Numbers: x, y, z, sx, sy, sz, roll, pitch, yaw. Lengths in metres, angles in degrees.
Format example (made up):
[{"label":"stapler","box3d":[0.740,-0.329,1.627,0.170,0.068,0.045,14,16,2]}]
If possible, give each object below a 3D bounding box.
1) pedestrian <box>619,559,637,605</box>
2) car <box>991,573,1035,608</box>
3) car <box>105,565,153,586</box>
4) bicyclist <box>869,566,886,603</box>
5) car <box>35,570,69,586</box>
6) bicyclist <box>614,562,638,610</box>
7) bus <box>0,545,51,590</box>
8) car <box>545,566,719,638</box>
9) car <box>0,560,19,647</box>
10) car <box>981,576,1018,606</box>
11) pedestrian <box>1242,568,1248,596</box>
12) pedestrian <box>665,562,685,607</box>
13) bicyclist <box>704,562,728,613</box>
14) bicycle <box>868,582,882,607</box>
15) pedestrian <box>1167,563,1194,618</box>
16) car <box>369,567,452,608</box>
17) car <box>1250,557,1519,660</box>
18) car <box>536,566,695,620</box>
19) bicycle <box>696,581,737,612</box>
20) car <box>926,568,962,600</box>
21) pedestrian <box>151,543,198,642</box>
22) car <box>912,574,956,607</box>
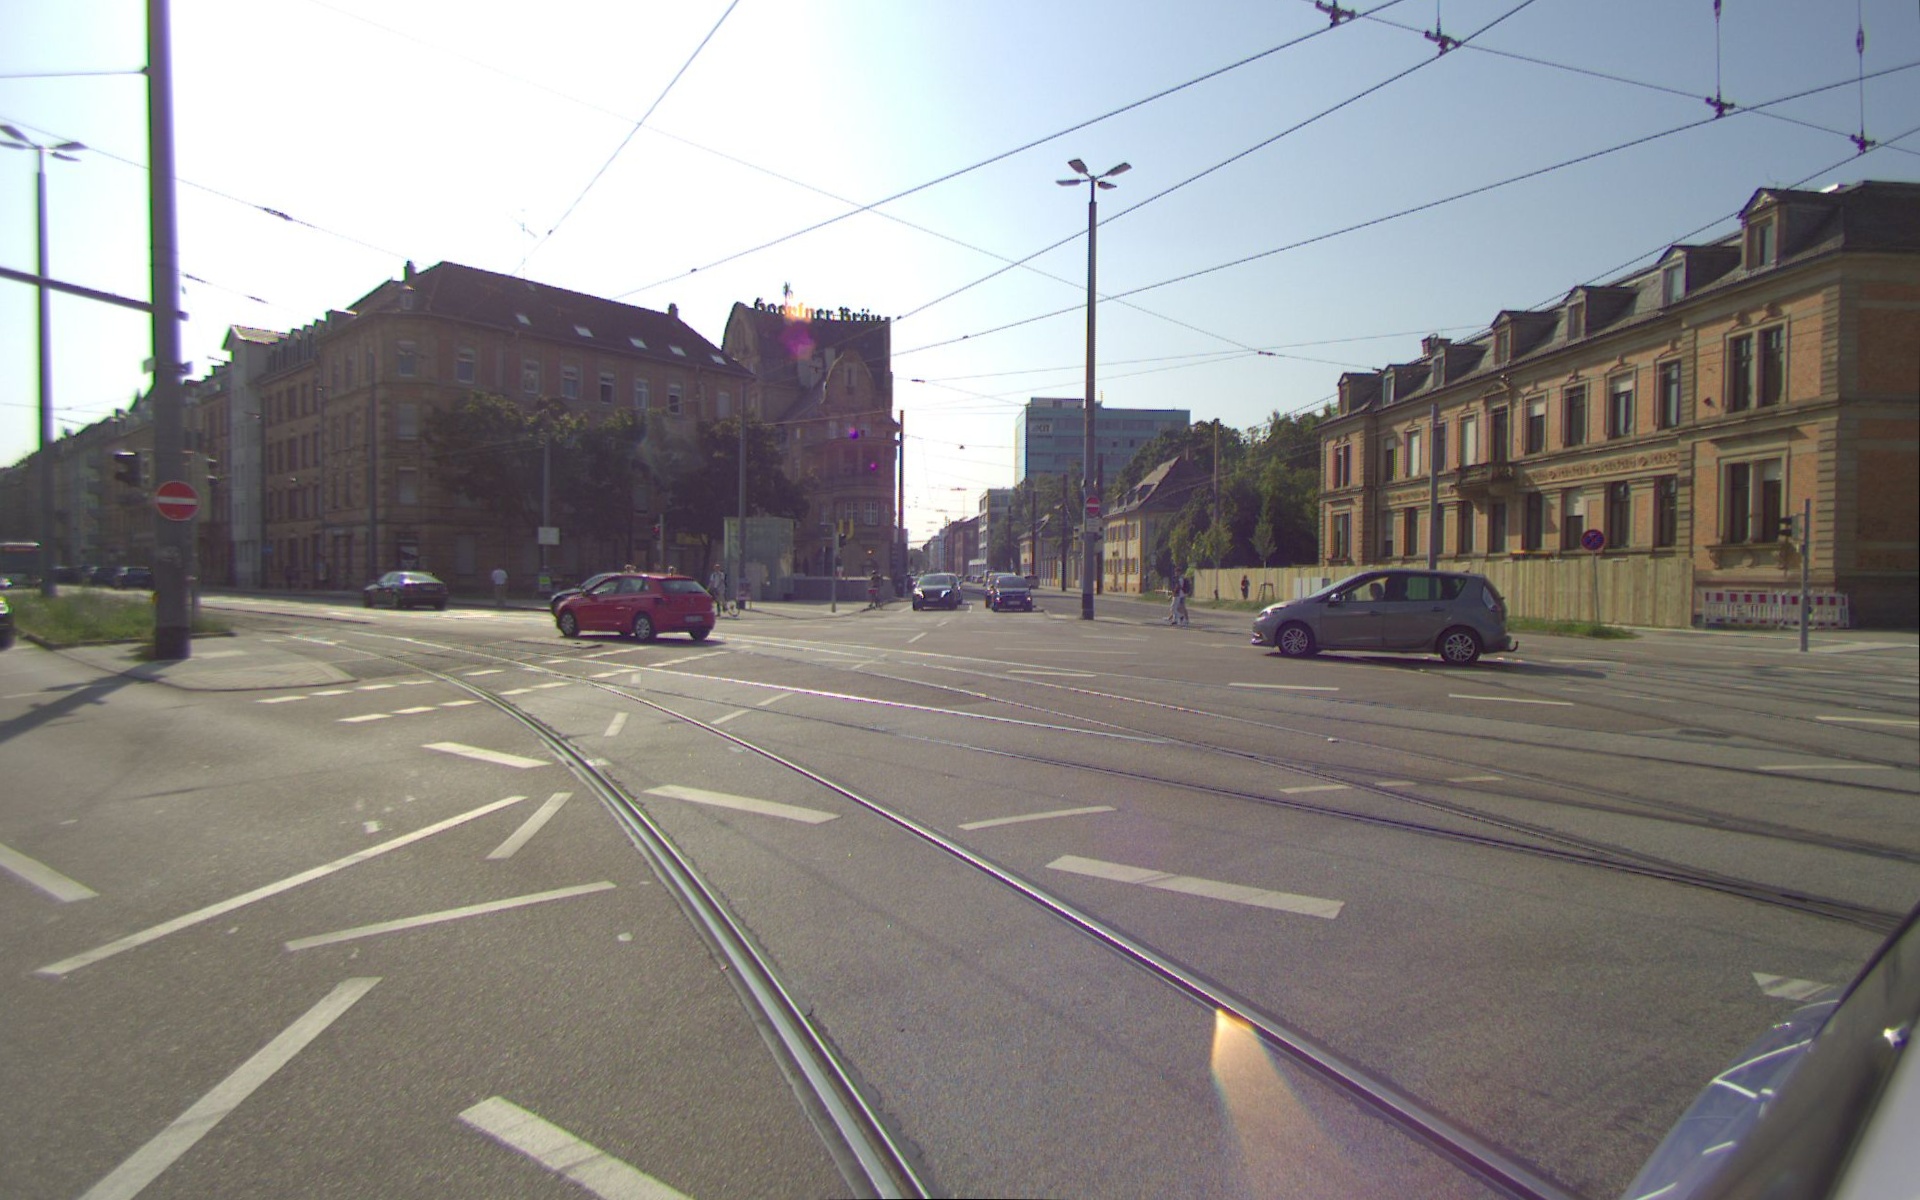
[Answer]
[{"label":"pedestrian","box3d":[-12.742,-0.702,38.826,0.496,1.748,0.624,0,1,-38]},{"label":"car","box3d":[2.162,-0.425,42.219,1.661,1.343,4.000,0,2,0]},{"label":"car","box3d":[-55.660,-1.629,67.774,3.760,1.366,1.718,1,2,38]},{"label":"bicyclist","box3d":[-3.827,-0.727,47.052,0.650,1.657,0.918,0,1,2]},{"label":"car","box3d":[-79.331,-1.954,88.430,3.764,1.366,1.716,2,2,41]},{"label":"bicyclist","box3d":[-12.214,-0.514,36.993,0.643,1.738,0.580,0,1,33]},{"label":"bus","box3d":[-67.408,-2.312,72.135,11.455,3.021,2.854,2,2,43]},{"label":"car","box3d":[-7.254,-0.003,22.278,3.752,1.466,1.658,1,1,32]},{"label":"car","box3d":[-18.288,0.025,18.003,4.331,1.470,1.777,2,2,40]},{"label":"car","box3d":[1.874,-0.444,48.696,1.661,1.343,4.000,0,2,0]},{"label":"pedestrian","box3d":[15.730,-0.994,55.819,0.232,1.549,0.327,0,1,-4]},{"label":"pedestrian","box3d":[-10.536,-0.578,37.395,0.521,1.661,0.499,0,1,37]},{"label":"bicyclist","box3d":[-8.541,-0.450,35.475,0.592,1.752,0.580,0,1,36]},{"label":"bicycle","box3d":[-3.942,-0.280,47.136,0.393,1.103,1.927,0,2,3]},{"label":"pedestrian","box3d":[7.034,-0.310,32.230,0.783,1.708,0.657,1,1,18]},{"label":"car","box3d":[-20.862,-0.520,38.376,3.828,1.478,1.713,2,2,44]},{"label":"car","box3d":[7.526,0.089,18.052,4.253,1.644,1.796,1,1,30]},{"label":"car","box3d":[-10.177,-0.242,29.772,4.703,1.493,1.895,1,1,31]},{"label":"bicycle","box3d":[-8.540,-0.129,35.559,0.431,1.037,1.508,1,2,35]},{"label":"car","box3d":[-0.847,-0.914,55.801,1.891,1.656,4.000,0,2,1]},{"label":"pedestrian","box3d":[-14.214,-0.141,18.316,0.594,1.752,0.519,0,1,35]},{"label":"car","box3d":[-1.129,-0.467,45.631,1.891,1.393,4.000,0,2,1]}]
